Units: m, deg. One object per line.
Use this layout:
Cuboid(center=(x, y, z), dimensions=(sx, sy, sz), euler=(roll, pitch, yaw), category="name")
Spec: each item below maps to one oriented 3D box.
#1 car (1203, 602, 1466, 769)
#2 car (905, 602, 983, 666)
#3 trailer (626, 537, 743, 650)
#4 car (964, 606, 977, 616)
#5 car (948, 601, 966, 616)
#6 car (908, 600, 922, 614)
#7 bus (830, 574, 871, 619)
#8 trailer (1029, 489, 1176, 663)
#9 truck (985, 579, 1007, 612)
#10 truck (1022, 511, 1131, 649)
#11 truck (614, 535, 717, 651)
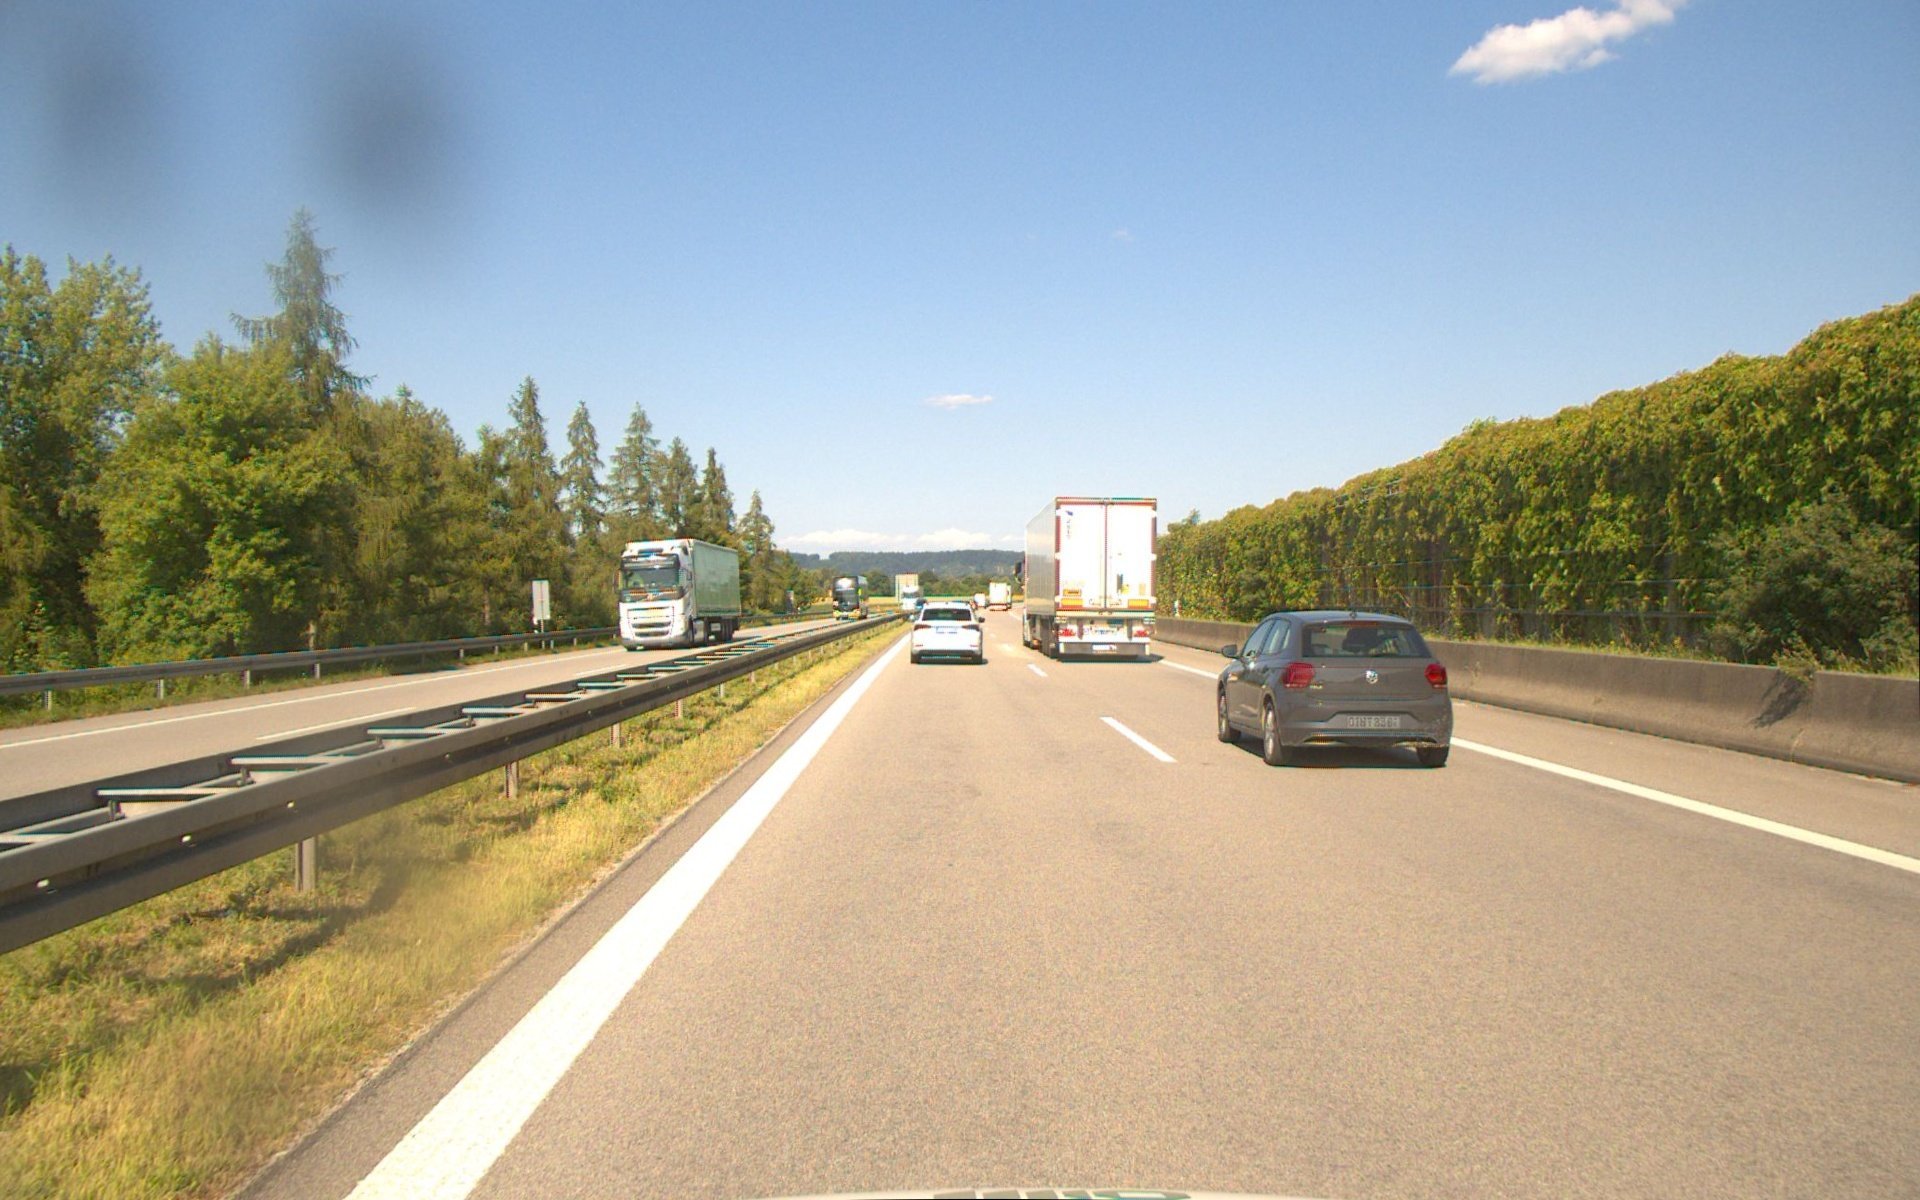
Cuboid(center=(3.686, 0.770, 17.090), dimensions=(1.631, 1.480, 4.543), euler=(0, 0, -1), category="car")
Cuboid(center=(-0.413, 0.794, 41.173), dimensions=(1.803, 1.446, 5.253), euler=(1, 0, -1), category="car")
Cuboid(center=(-11.145, -0.249, 68.334), dimensions=(2.607, 4.078, 14.084), euler=(-2, 0, -1), category="trailer")
Cuboid(center=(1.467, 1.566, 234.077), dimensions=(1.735, 1.446, 4.364), euler=(0, 0, 0), category="car")
Cuboid(center=(-0.316, 0.865, 171.064), dimensions=(1.735, 1.446, 4.493), euler=(0, 0, -2), category="car")
Cuboid(center=(-6.281, 0.929, 230.320), dimensions=(1.718, 1.881, 5.011), euler=(-3, 0, 0), category="car")
Cuboid(center=(-10.530, -0.322, 160.359), dimensions=(2.876, 4.125, 14.667), euler=(-2, 0, 0), category="bus")
Cuboid(center=(3.639, -0.571, 45.941), dimensions=(2.761, 4.036, 14.159), euler=(-1, 0, 0), category="trailer")
Cuboid(center=(5.248, -0.641, 240.618), dimensions=(3.087, 4.693, 8.905), euler=(-1, 0, 1), category="truck")
Cuboid(center=(3.609, -0.603, 52.705), dimensions=(2.782, 4.036, 7.042), euler=(-2, 0, -1), category="truck")
Cuboid(center=(-11.103, -0.256, 62.986), dimensions=(2.590, 4.078, 7.192), euler=(-2, 0, -1), category="truck")
